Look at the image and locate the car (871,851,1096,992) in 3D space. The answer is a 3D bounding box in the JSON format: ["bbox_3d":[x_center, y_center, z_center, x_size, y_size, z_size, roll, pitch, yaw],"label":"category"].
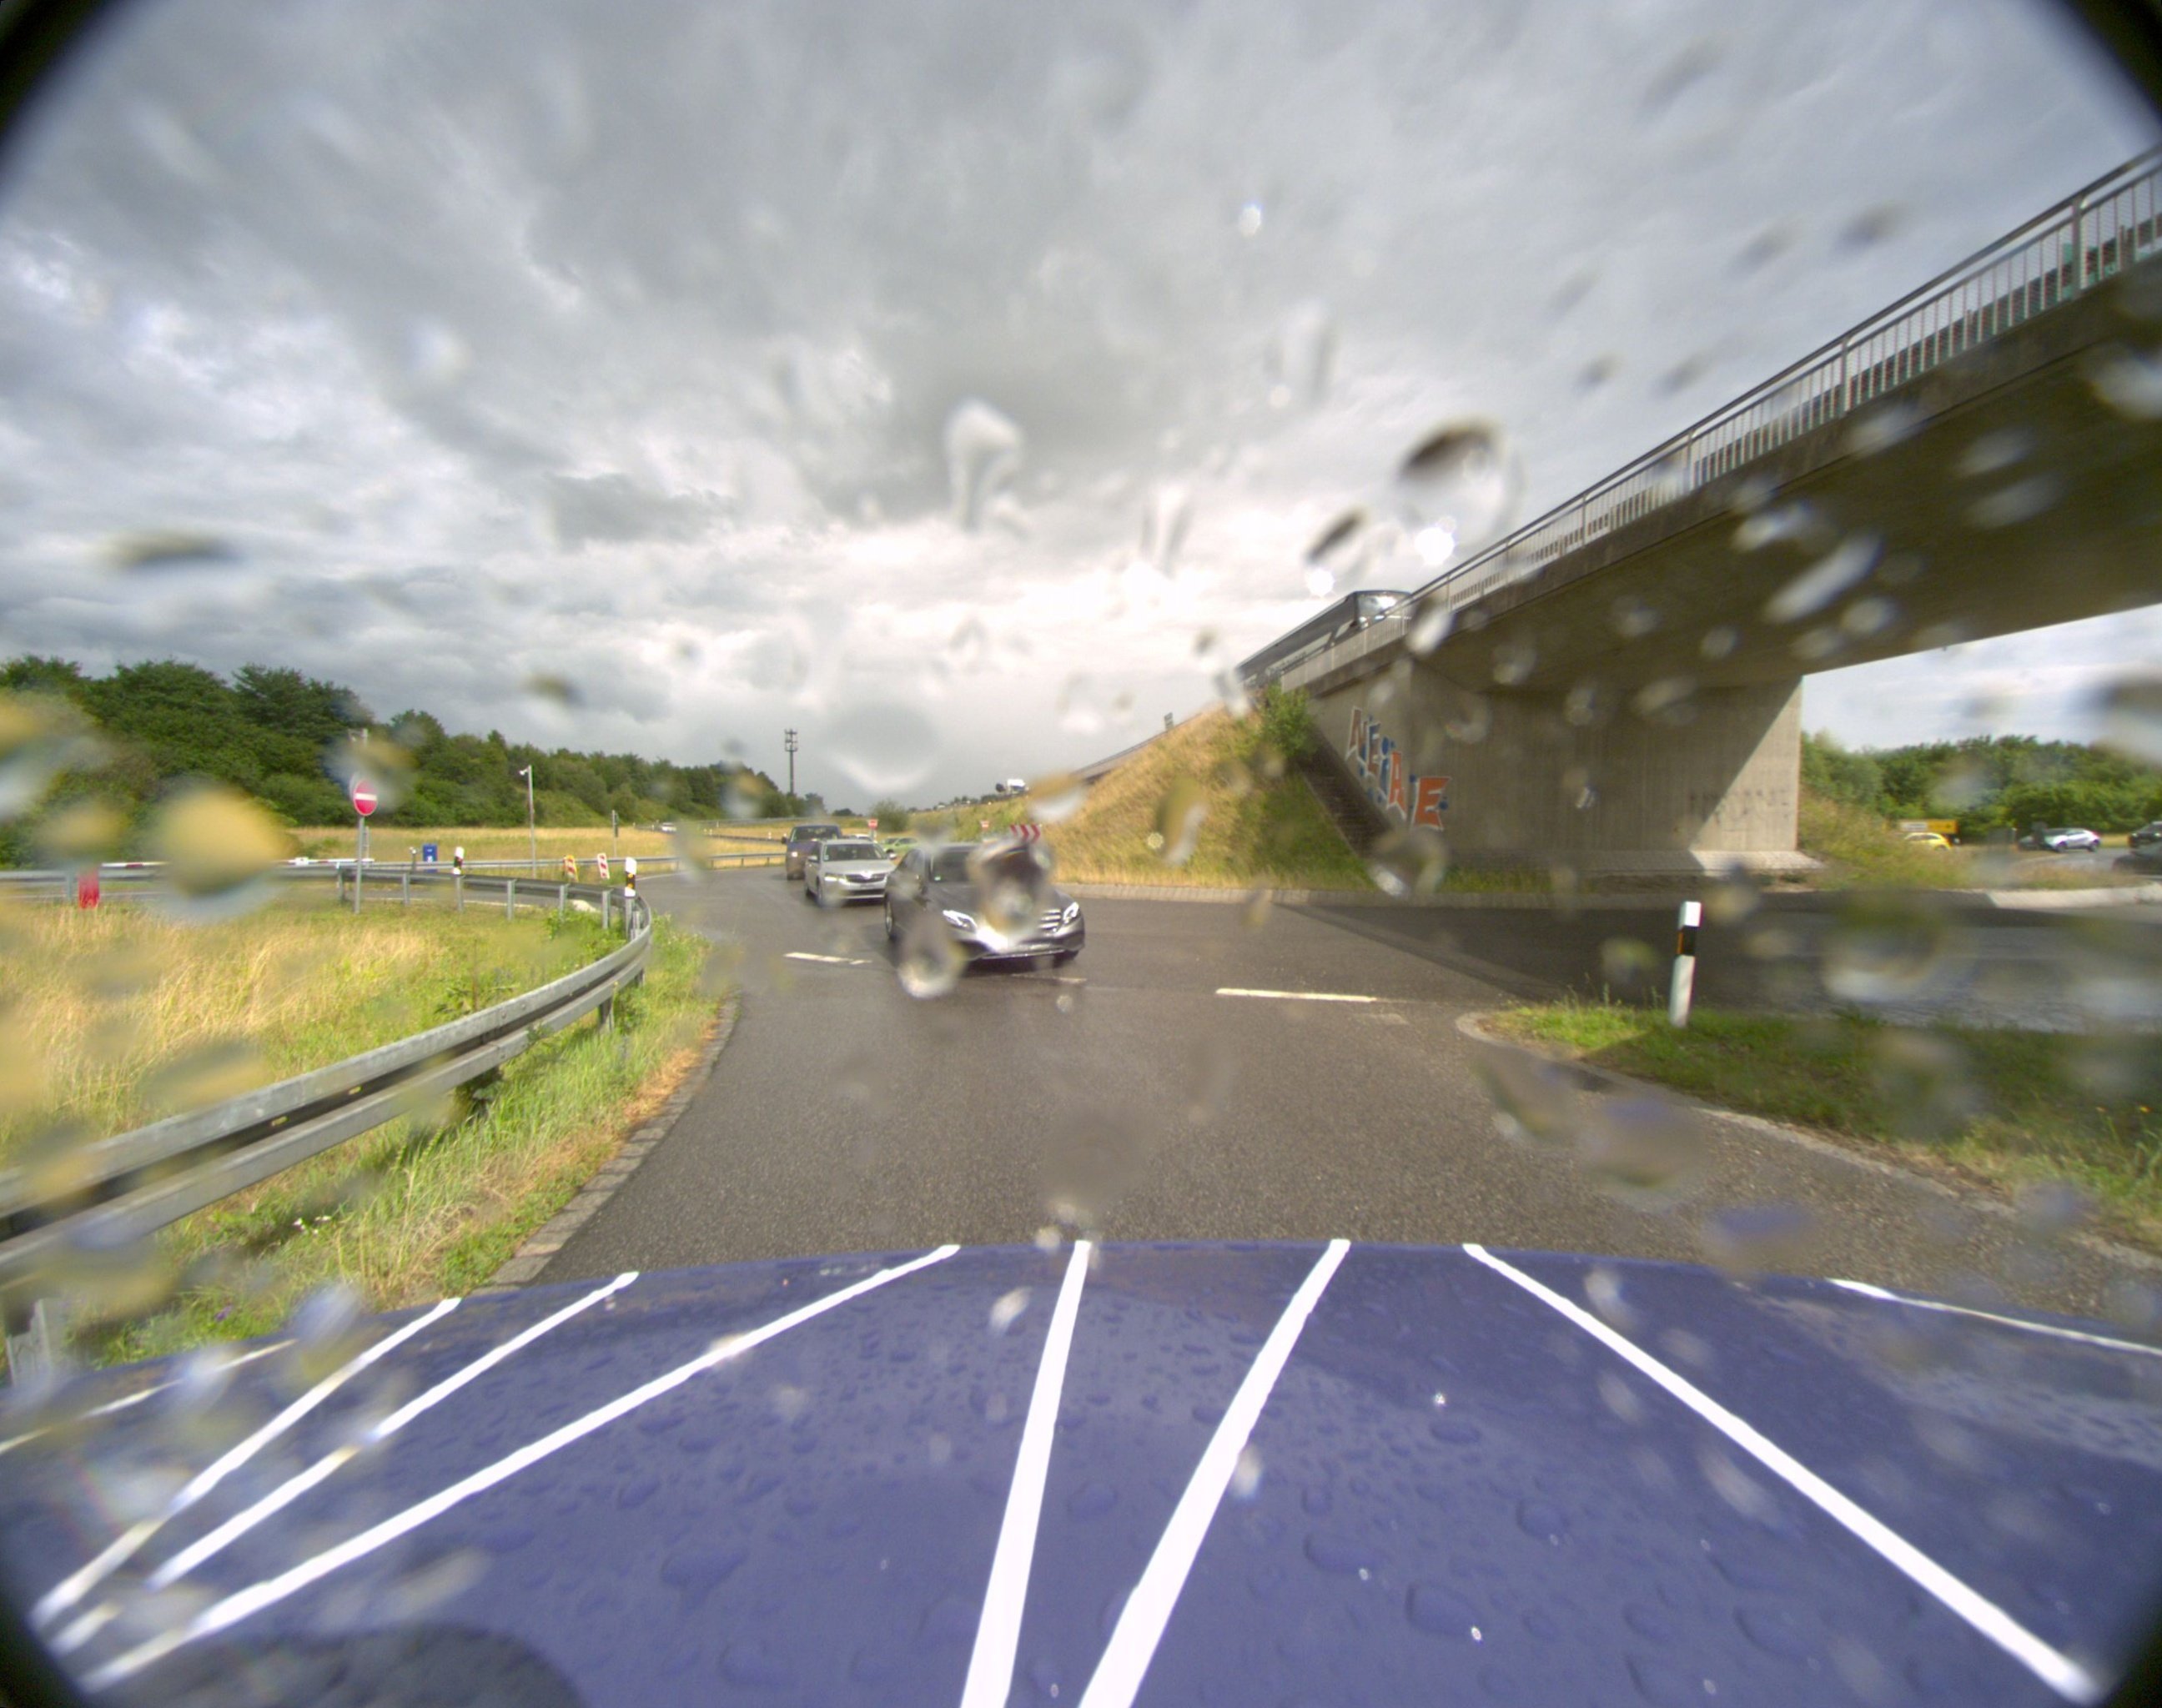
[{"bbox_3d":[-1.583,0.694,10.392,1.774,1.383,4.581,-2,2,-24],"label":"car"}]

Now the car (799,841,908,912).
[{"bbox_3d":[-5.404,0.405,17.685,1.800,1.390,4.339,-1,2,-25],"label":"car"}]

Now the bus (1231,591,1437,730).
[{"bbox_3d":[10.316,-7.939,33.775,2.613,3.063,14.447,-2,3,-7],"label":"bus"}]

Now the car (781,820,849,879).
[{"bbox_3d":[-9.706,-0.279,28.120,1.894,1.905,5.672,-1,3,-15],"label":"car"}]

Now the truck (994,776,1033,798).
[{"bbox_3d":[-11.181,-10.980,124.563,3.165,3.177,9.256,-3,3,-27],"label":"truck"}]

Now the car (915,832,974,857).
[{"bbox_3d":[-8.641,-0.621,48.500,1.568,1.528,3.935,1,2,29],"label":"car"}]

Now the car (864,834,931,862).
[{"bbox_3d":[-10.760,-0.391,44.852,1.568,1.528,3.935,1,2,29],"label":"car"}]

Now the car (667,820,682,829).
[{"bbox_3d":[-58.980,-4.211,110.267,1.714,1.283,3.765,-1,2,-25],"label":"car"}]

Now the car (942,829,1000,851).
[{"bbox_3d":[-7.525,-0.964,51.859,3.846,1.466,1.616,-1,2,-10],"label":"car"}]
